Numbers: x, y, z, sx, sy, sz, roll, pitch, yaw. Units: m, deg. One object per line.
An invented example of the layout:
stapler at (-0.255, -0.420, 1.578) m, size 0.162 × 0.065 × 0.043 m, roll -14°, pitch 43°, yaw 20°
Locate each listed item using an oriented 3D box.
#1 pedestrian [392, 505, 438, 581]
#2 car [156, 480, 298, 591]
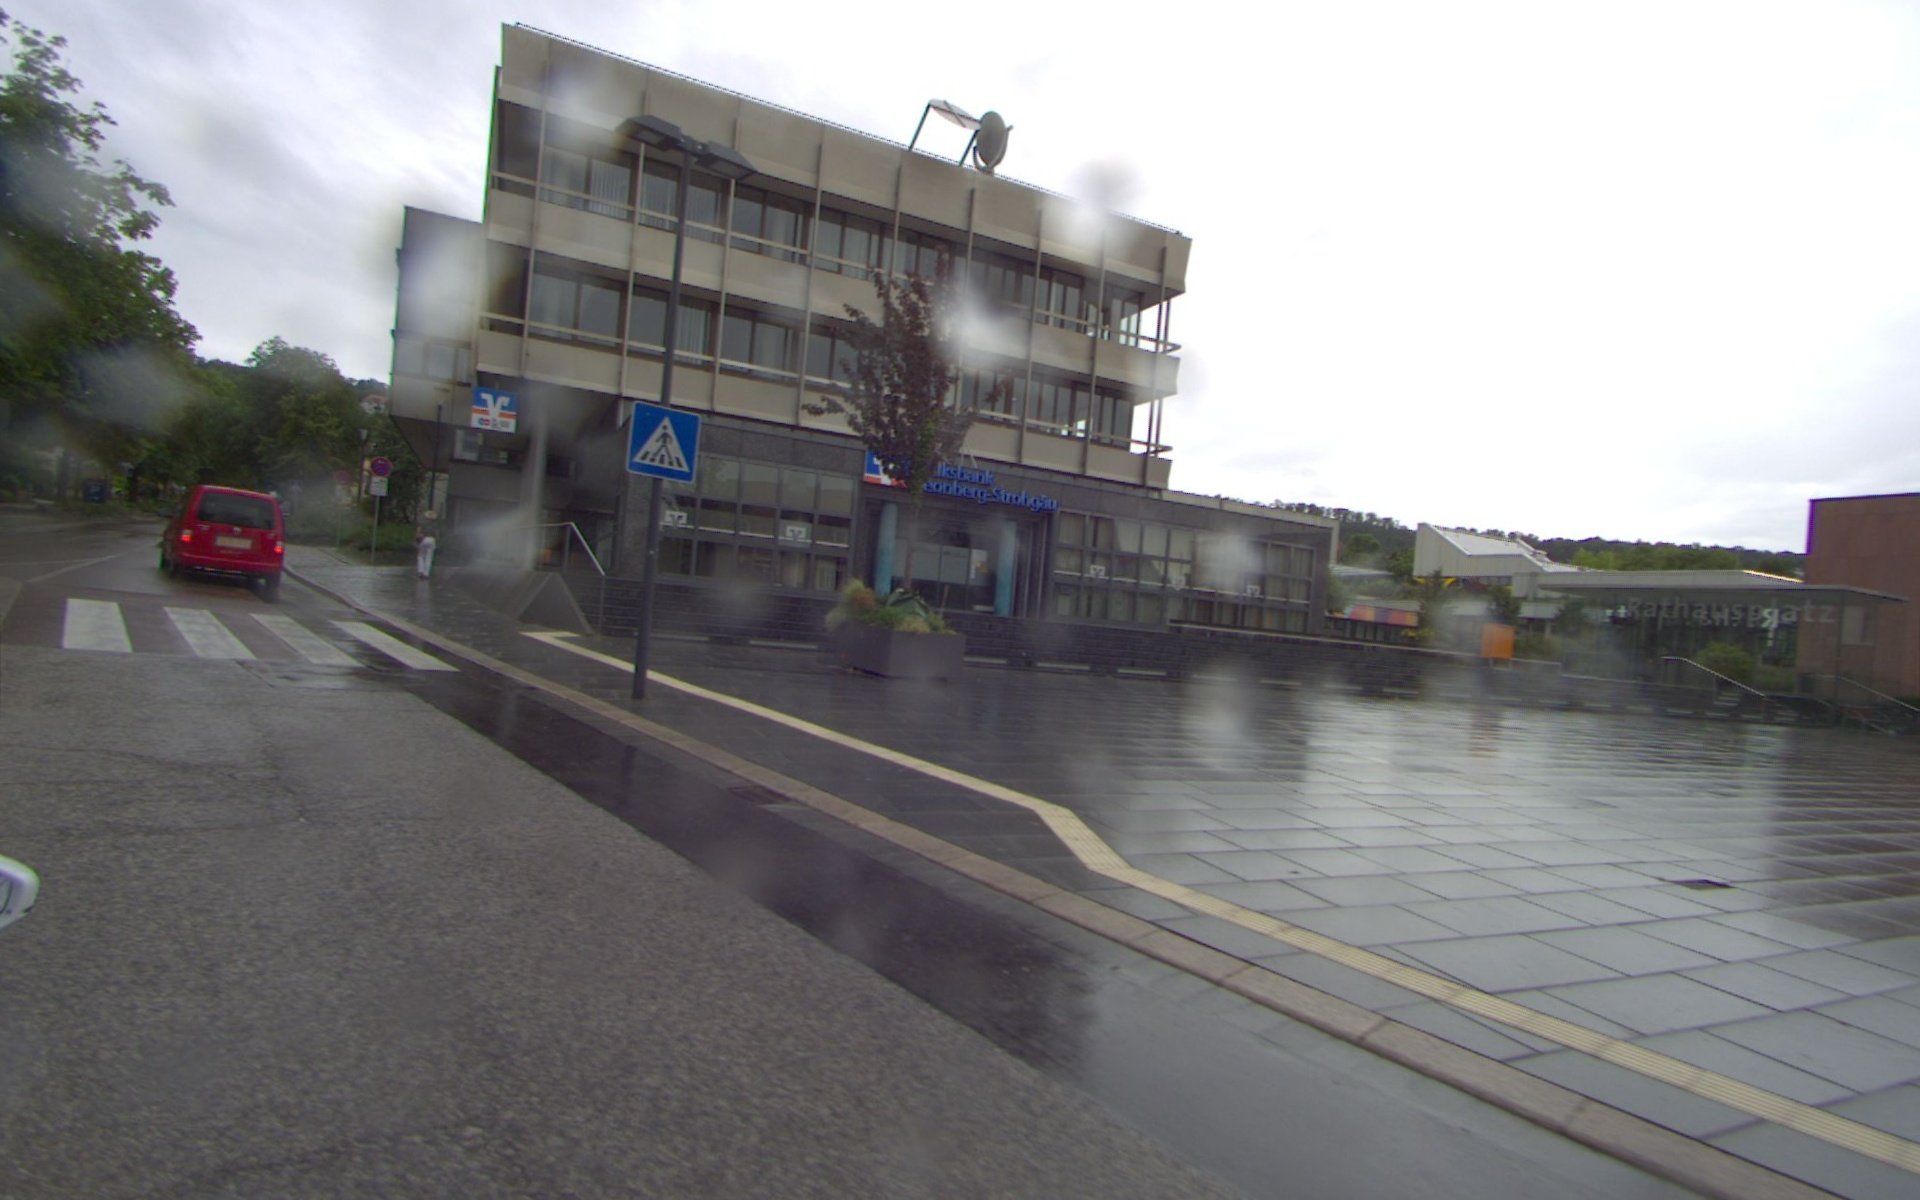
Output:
pedestrian at (-14.139, -1.477, 26.117) m, size 0.826 × 1.853 × 0.810 m, roll 5°, pitch 1°, yaw -24°
car at (-14.887, -1.312, 20.344) m, size 1.854 × 1.854 × 4.136 m, roll 5°, pitch 0°, yaw -41°
